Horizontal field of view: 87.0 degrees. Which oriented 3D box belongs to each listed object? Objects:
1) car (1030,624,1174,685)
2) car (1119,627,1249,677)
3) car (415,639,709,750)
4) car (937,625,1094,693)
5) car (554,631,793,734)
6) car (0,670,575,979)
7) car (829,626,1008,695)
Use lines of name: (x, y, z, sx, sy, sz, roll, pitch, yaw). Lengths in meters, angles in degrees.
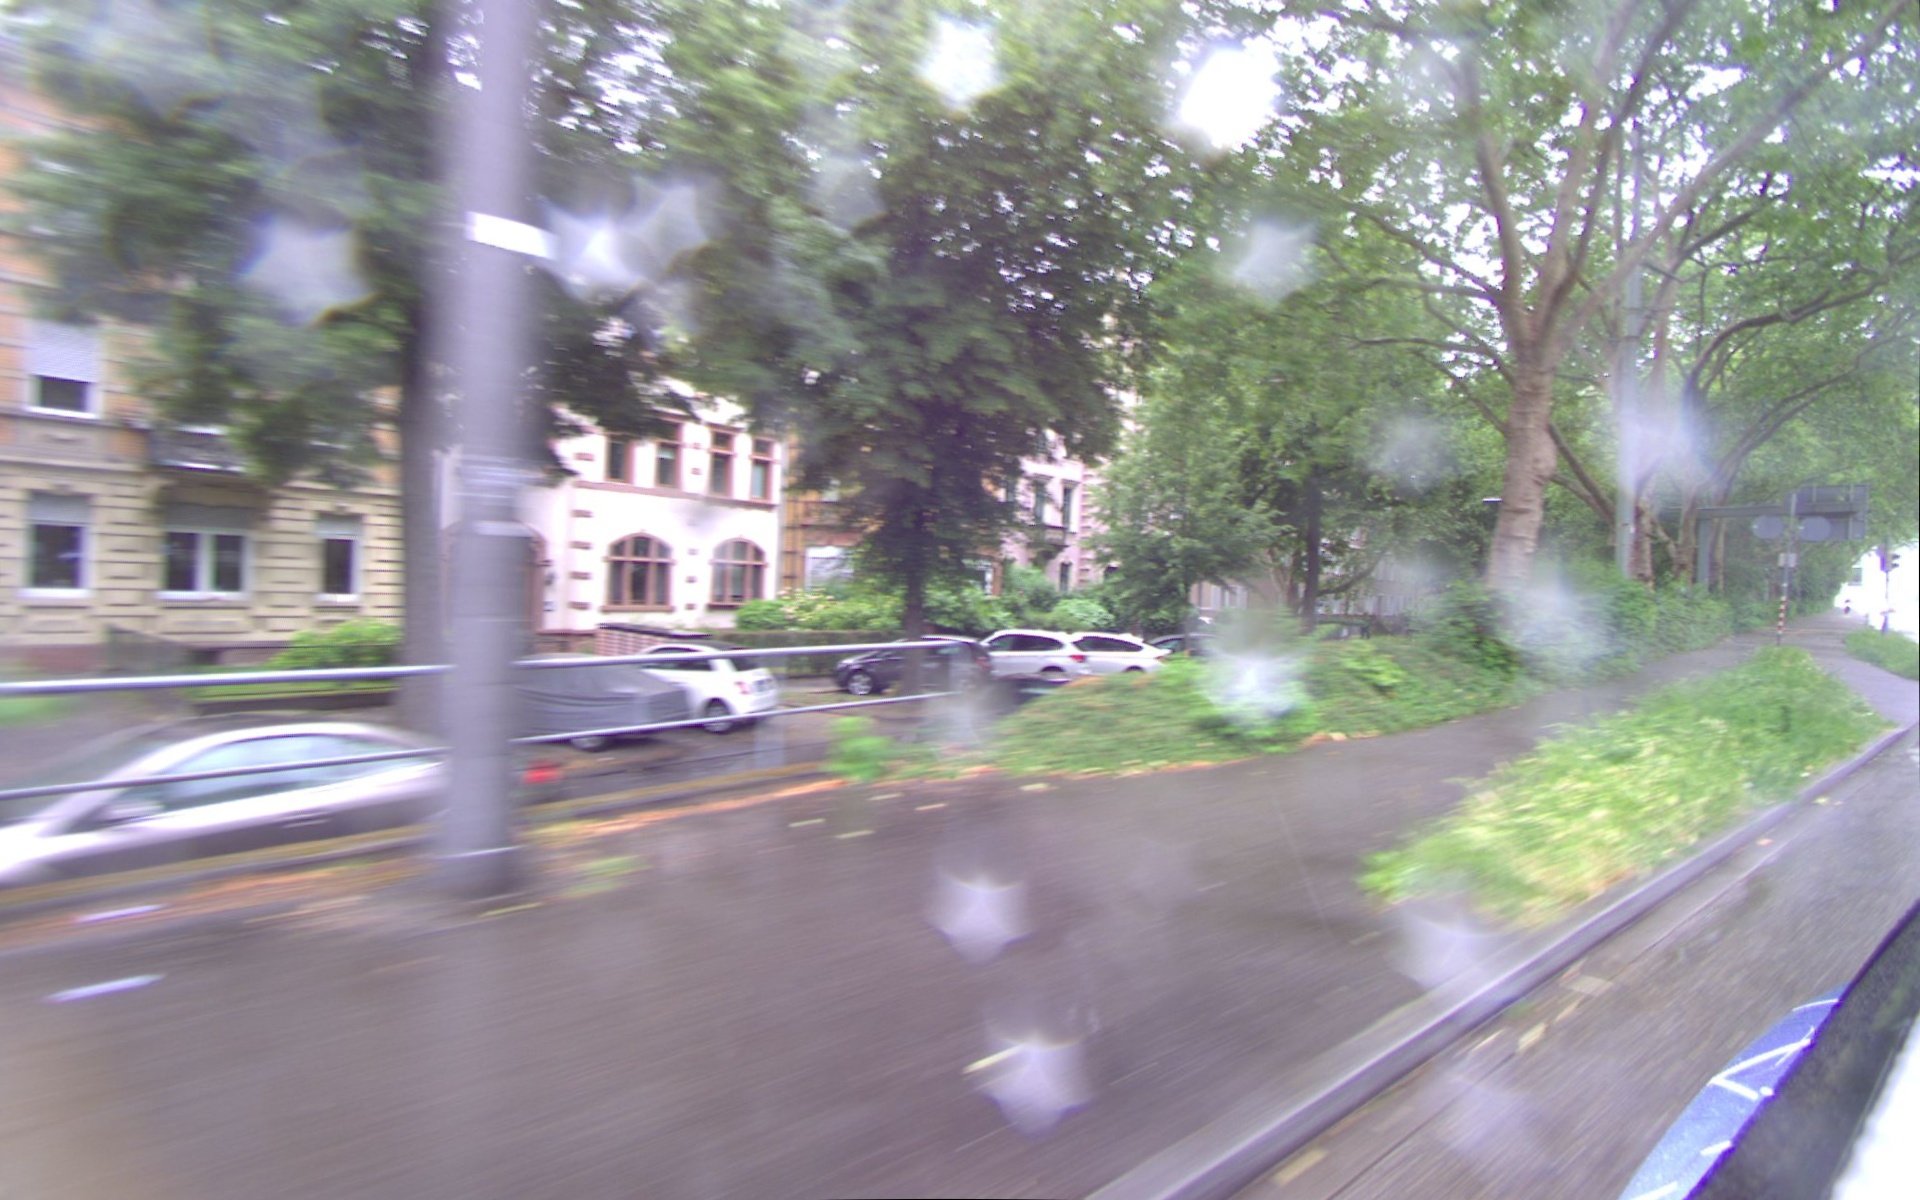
car: (4.017, 1.530, 28.925, 3.932, 1.585, 1.996, 0, 0, 7)
car: (7.204, 1.655, 32.907, 3.932, 1.482, 1.909, 0, 0, 7)
car: (-6.302, 1.428, 16.105, 4.201, 1.397, 1.684, 1, 1, 15)
car: (1.499, 1.507, 26.528, 3.936, 1.629, 1.819, 0, 0, 11)
car: (-5.192, 1.438, 18.423, 3.946, 1.523, 1.650, 1, 1, 18)
car: (-5.114, 1.318, 6.859, 1.962, 1.370, 4.324, -1, 0, 38)
car: (-0.936, 1.395, 24.172, 3.936, 1.482, 1.994, 0, 0, 11)
